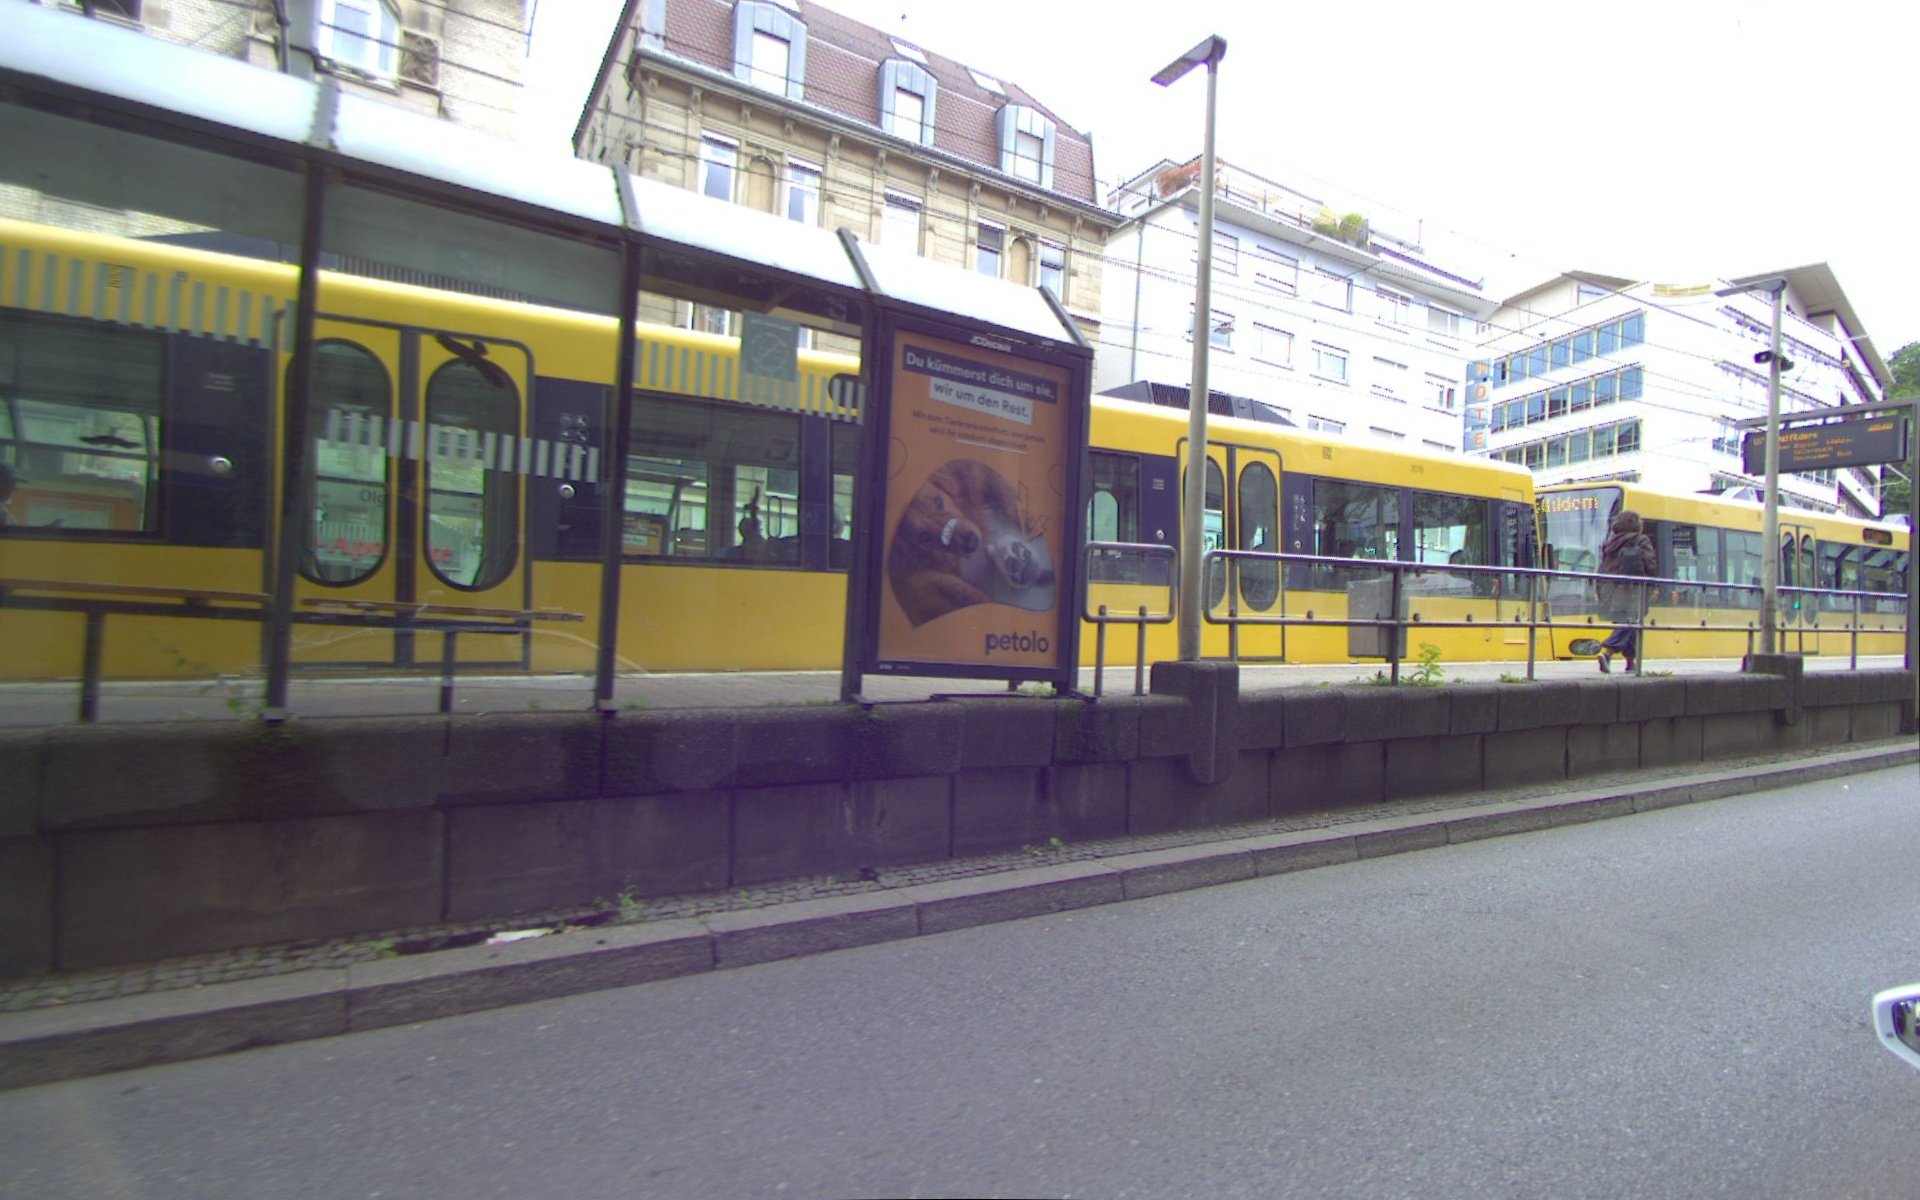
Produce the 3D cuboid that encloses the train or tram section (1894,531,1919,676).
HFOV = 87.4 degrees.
[{"bbox_3d":[27.974,0.210,26.700,6.674,3.715,2.799,2,0,-31],"label":"train or tram section"}]

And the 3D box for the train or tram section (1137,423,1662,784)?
[{"bbox_3d":[5.887,0.133,13.198,6.670,3.715,2.800,2,0,-29],"label":"train or tram section"}]

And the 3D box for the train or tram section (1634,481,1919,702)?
[{"bbox_3d":[16.554,-0.045,19.794,6.674,3.715,2.799,2,0,-31],"label":"train or tram section"}]

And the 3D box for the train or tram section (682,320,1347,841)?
[{"bbox_3d":[0.600,-0.060,9.833,5.831,3.715,2.800,2,0,-29],"label":"train or tram section"}]

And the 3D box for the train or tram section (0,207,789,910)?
[{"bbox_3d":[-4.417,-0.177,6.986,5.682,3.568,2.822,2,0,-29],"label":"train or tram section"}]

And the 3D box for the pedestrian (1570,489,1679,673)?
[{"bbox_3d":[6.770,-0.170,10.235,0.836,1.786,0.624,1,-1,-30],"label":"pedestrian"}]

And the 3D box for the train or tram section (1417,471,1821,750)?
[{"bbox_3d":[10.810,0.231,16.320,6.674,3.715,2.799,2,0,-31],"label":"train or tram section"}]

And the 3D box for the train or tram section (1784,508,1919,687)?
[{"bbox_3d":[22.269,0.047,23.238,6.674,3.715,2.799,2,0,-31],"label":"train or tram section"}]
